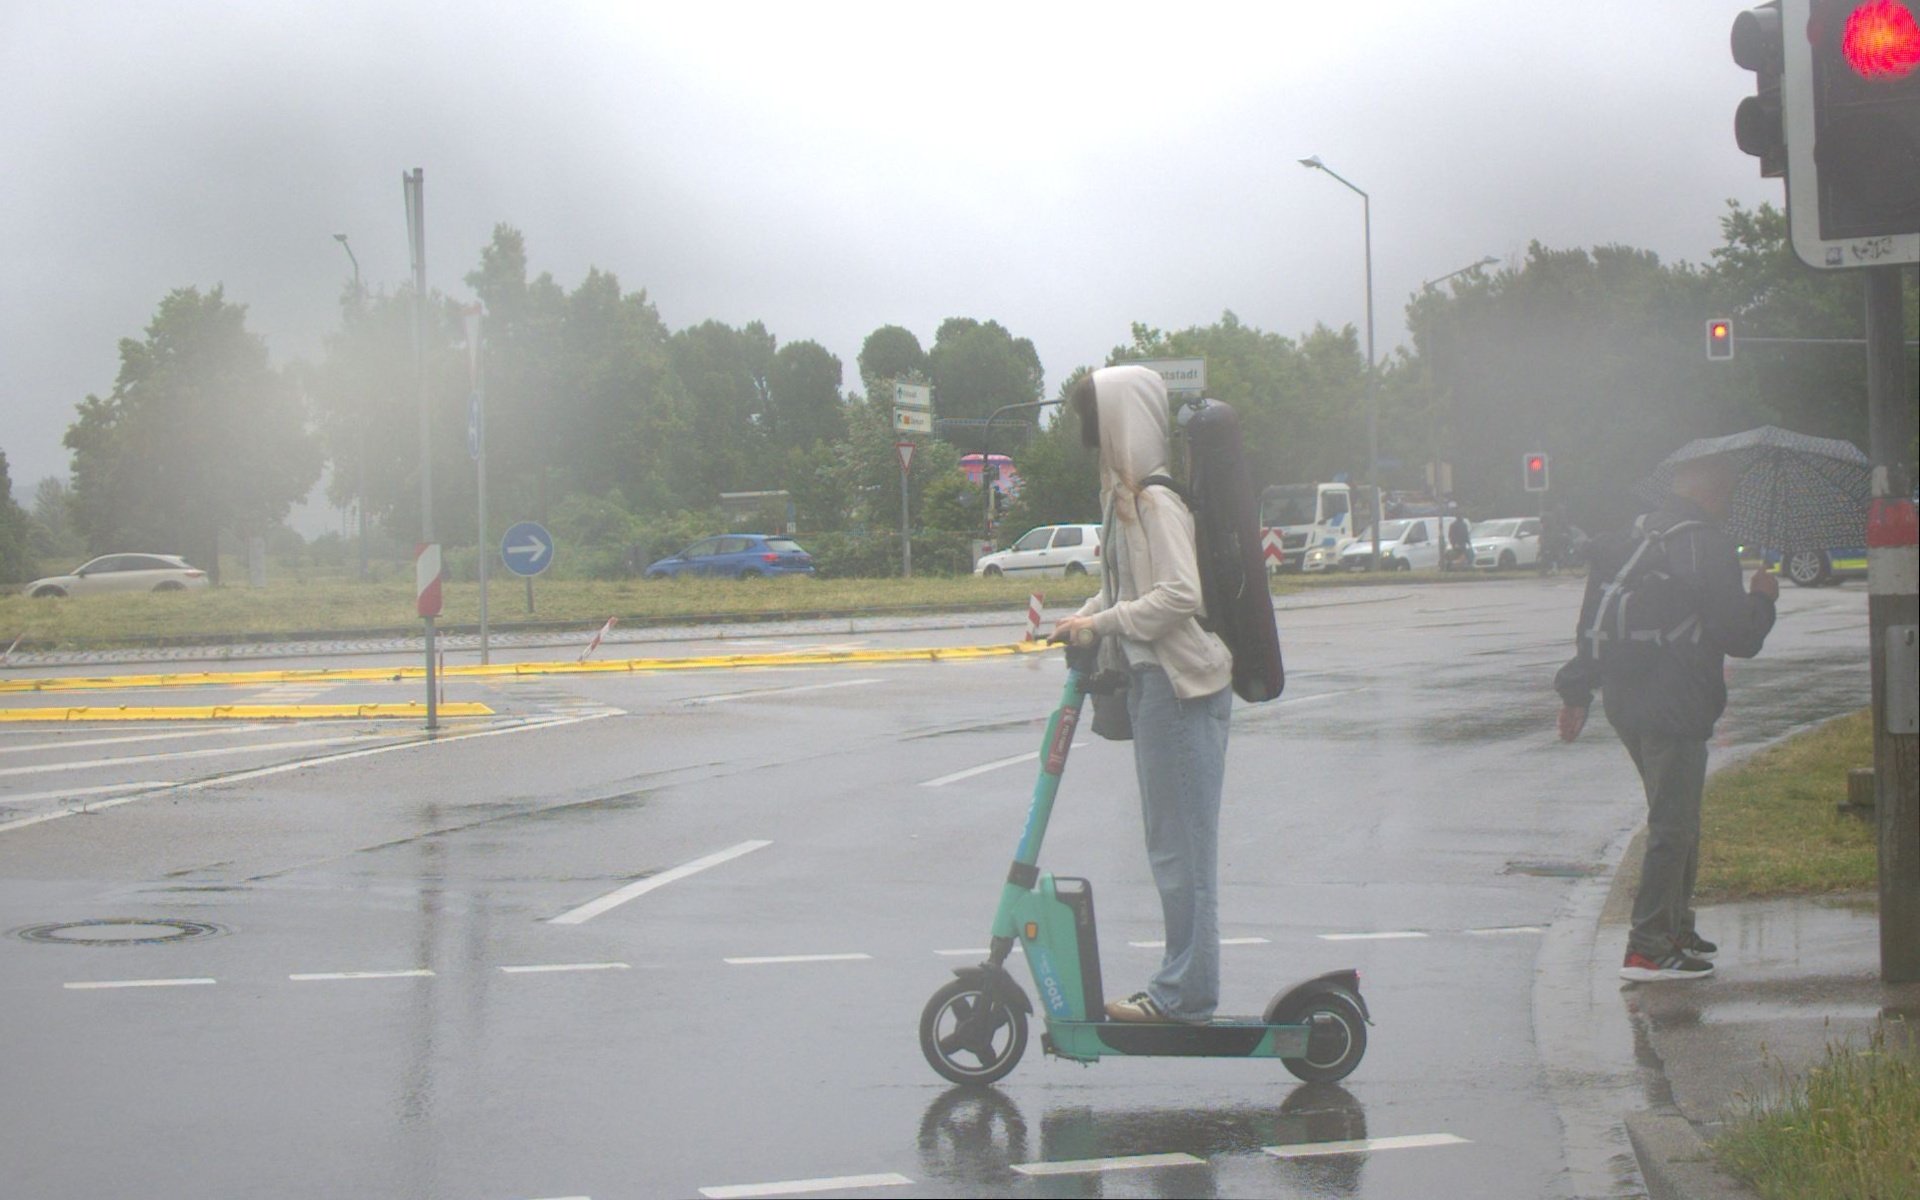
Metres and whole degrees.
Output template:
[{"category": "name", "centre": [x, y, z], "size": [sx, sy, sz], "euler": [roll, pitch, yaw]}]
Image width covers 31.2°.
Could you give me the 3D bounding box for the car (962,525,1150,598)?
[{"category": "car", "centre": [1.969, -0.803, 71.486], "size": [1.619, 1.449, 3.986], "euler": [-2, 2, -41]}]

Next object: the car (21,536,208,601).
[{"category": "car", "centre": [-19.973, -0.760, 81.327], "size": [4.098, 1.449, 1.624], "euler": [-1, 1, -7]}]

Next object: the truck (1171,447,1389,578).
[{"category": "truck", "centre": [7.187, -1.882, 76.156], "size": [2.464, 2.677, 8.049], "euler": [1, 0, 23]}]

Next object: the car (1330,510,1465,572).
[{"category": "car", "centre": [12.513, -1.676, 98.166], "size": [1.800, 1.656, 4.124], "euler": [1, 0, 41]}]

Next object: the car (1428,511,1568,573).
[{"category": "car", "centre": [15.125, -1.624, 96.522], "size": [1.800, 1.656, 4.399], "euler": [1, 0, 41]}]

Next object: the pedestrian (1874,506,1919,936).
[{"category": "pedestrian", "centre": [3.564, 0.399, 11.688], "size": [0.680, 1.456, 0.573], "euler": [-2, 0, -4]}]

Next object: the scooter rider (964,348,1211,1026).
[{"category": "scooter rider", "centre": [0.325, 0.216, 8.939], "size": [0.531, 1.703, 0.434], "euler": [-2, 1, -6]}]

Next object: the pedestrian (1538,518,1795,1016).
[{"category": "pedestrian", "centre": [2.220, 0.504, 10.869], "size": [0.621, 1.517, 0.741], "euler": [1, 1, -2]}]

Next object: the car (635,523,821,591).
[{"category": "car", "centre": [-5.164, -0.948, 76.239], "size": [3.983, 1.449, 1.620], "euler": [0, 1, 37]}]

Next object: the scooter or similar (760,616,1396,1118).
[{"category": "scooter or similar", "centre": [0.294, 0.685, 8.942], "size": [1.585, 1.255, 0.447], "euler": [1, 0, -6]}]

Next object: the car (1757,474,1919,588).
[{"category": "car", "centre": [15.912, -1.167, 57.267], "size": [4.767, 1.845, 1.997], "euler": [0, 1, 27]}]

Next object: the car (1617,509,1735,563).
[{"category": "car", "centre": [23.254, -2.079, 111.534], "size": [1.800, 1.656, 4.399], "euler": [0, 1, 41]}]

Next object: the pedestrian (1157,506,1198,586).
[{"category": "pedestrian", "centre": [3.574, -0.893, 56.439], "size": [0.453, 1.300, 0.485], "euler": [0, 1, 39]}]
